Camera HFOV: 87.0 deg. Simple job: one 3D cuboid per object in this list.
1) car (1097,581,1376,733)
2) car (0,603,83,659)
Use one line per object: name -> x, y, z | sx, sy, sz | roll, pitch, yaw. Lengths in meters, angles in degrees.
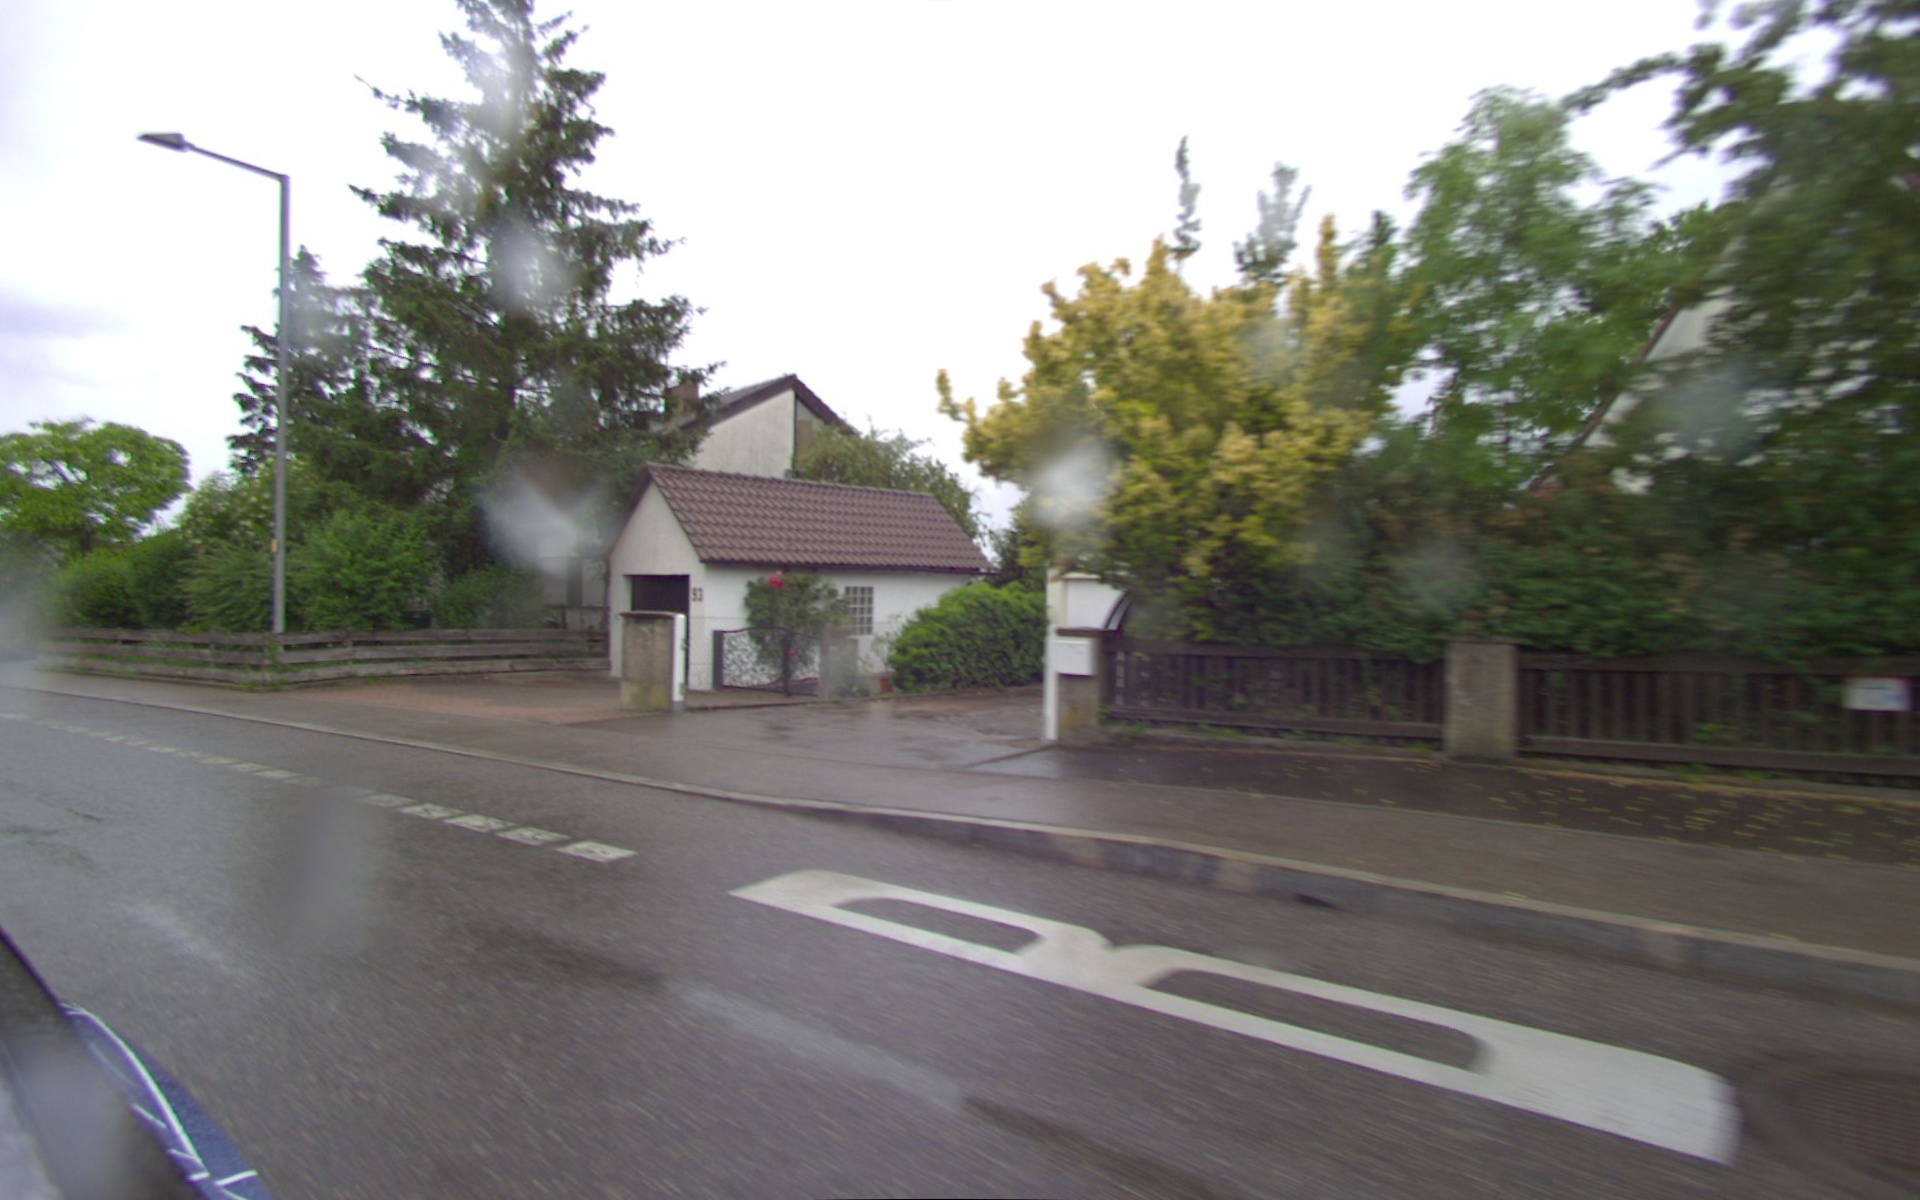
car -> 3.934, 0.681, 14.072 | 3.940, 1.797, 2.002 | 0, -1, -44
car -> -25.877, 0.837, 27.437 | 2.989, 1.491, 1.458 | 0, -1, -33
